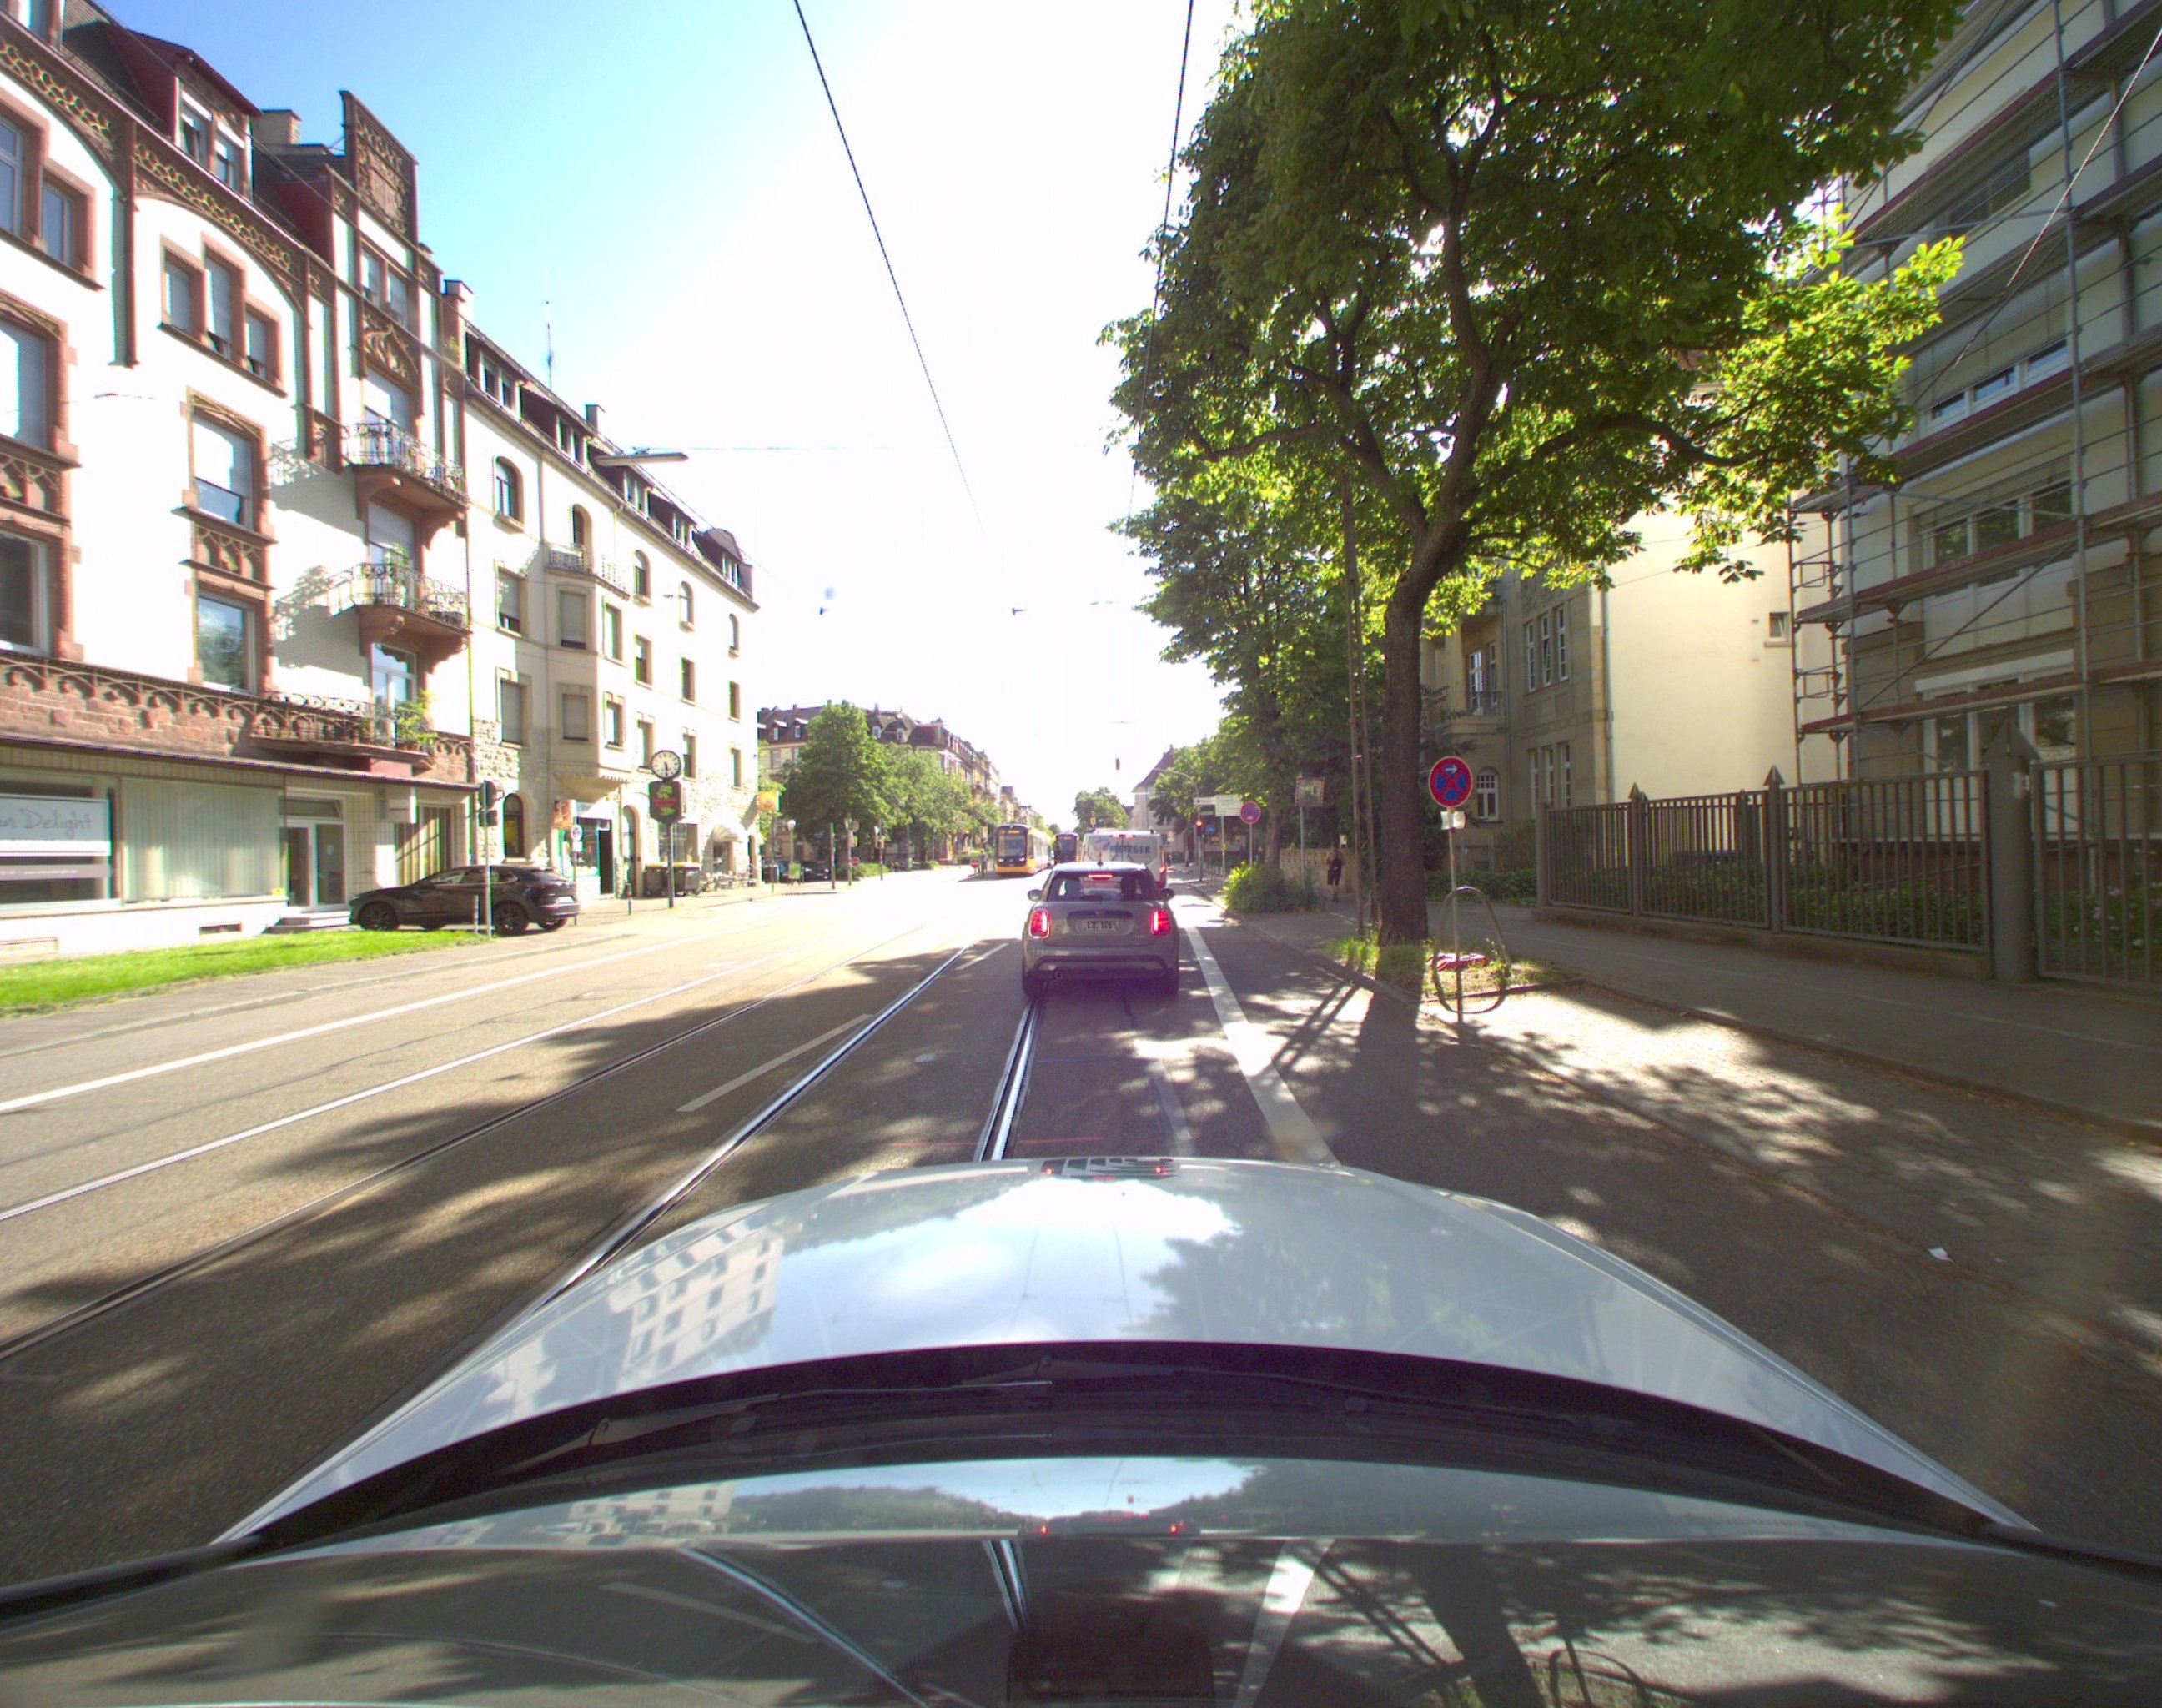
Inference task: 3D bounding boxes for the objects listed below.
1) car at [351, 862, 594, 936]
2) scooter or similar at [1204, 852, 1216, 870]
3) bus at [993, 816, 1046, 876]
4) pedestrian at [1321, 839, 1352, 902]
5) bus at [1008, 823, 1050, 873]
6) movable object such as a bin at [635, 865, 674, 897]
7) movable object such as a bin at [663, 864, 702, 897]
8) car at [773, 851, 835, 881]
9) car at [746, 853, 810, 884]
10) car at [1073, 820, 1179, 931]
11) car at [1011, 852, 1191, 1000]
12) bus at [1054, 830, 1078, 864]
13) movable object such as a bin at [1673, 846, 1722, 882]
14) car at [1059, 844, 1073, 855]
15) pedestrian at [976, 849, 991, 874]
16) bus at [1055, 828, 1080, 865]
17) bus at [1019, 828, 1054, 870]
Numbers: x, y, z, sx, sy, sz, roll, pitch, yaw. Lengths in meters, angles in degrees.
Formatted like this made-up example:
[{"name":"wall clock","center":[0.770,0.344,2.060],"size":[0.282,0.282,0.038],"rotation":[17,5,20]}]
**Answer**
[{"name":"car","center":[-13.590,0.990,18.397],"size":[3.981,1.503,1.768],"rotation":[1,-1,-6]},{"name":"scooter or similar","center":[9.316,0.494,58.763],"size":[0.673,1.310,1.329],"rotation":[0,-1,1]},{"name":"bus","center":[-4.111,-0.456,56.588],"size":[2.851,3.777,11.494],"rotation":[0,0,-1]},{"name":"pedestrian","center":[6.977,0.444,22.257],"size":[0.590,1.671,0.647],"rotation":[-3,-1,1]},{"name":"bus","center":[-4.198,-0.401,67.977],"size":[2.851,3.777,11.179],"rotation":[0,0,-1]},{"name":"movable object such as a bin","center":[-16.963,1.066,32.420],"size":[0.829,1.223,1.245],"rotation":[0,-1,4]},{"name":"movable object such as a bin","center":[-16.030,1.046,32.774],"size":[0.941,1.273,1.145],"rotation":[0,-1,5]},{"name":"car","center":[-19.494,0.825,57.250],"size":[3.949,2.014,2.012],"rotation":[-1,-1,30]},{"name":"car","center":[-20.552,0.989,55.196],"size":[3.949,2.014,2.012],"rotation":[-1,-1,30]},{"name":"car","center":[0.972,0.446,18.806],"size":[2.110,2.208,4.946],"rotation":[0,-1,2]},{"name":"car","center":[0.261,0.742,10.224],"size":[1.808,1.488,4.001],"rotation":[0,-1,2]},{"name":"bus","center":[-1.695,-0.703,89.250],"size":[2.379,3.496,7.377],"rotation":[0,-1,-2]},{"name":"movable object such as a bin","center":[16.675,0.274,22.038],"size":[0.831,0.955,0.648],"rotation":[0,-1,0]},{"name":"car","center":[-2.113,-0.596,114.944],"size":[1.859,1.563,3.997],"rotation":[0,-1,-2]},{"name":"pedestrian","center":[-6.968,0.524,58.223],"size":[0.878,1.802,0.902],"rotation":[0,-1,0]},{"name":"bus","center":[-1.398,-0.712,81.811],"size":[2.379,3.496,7.377],"rotation":[0,-1,-2]},{"name":"bus","center":[-4.227,-0.375,79.555],"size":[2.841,3.777,12.193],"rotation":[0,0,0]}]
